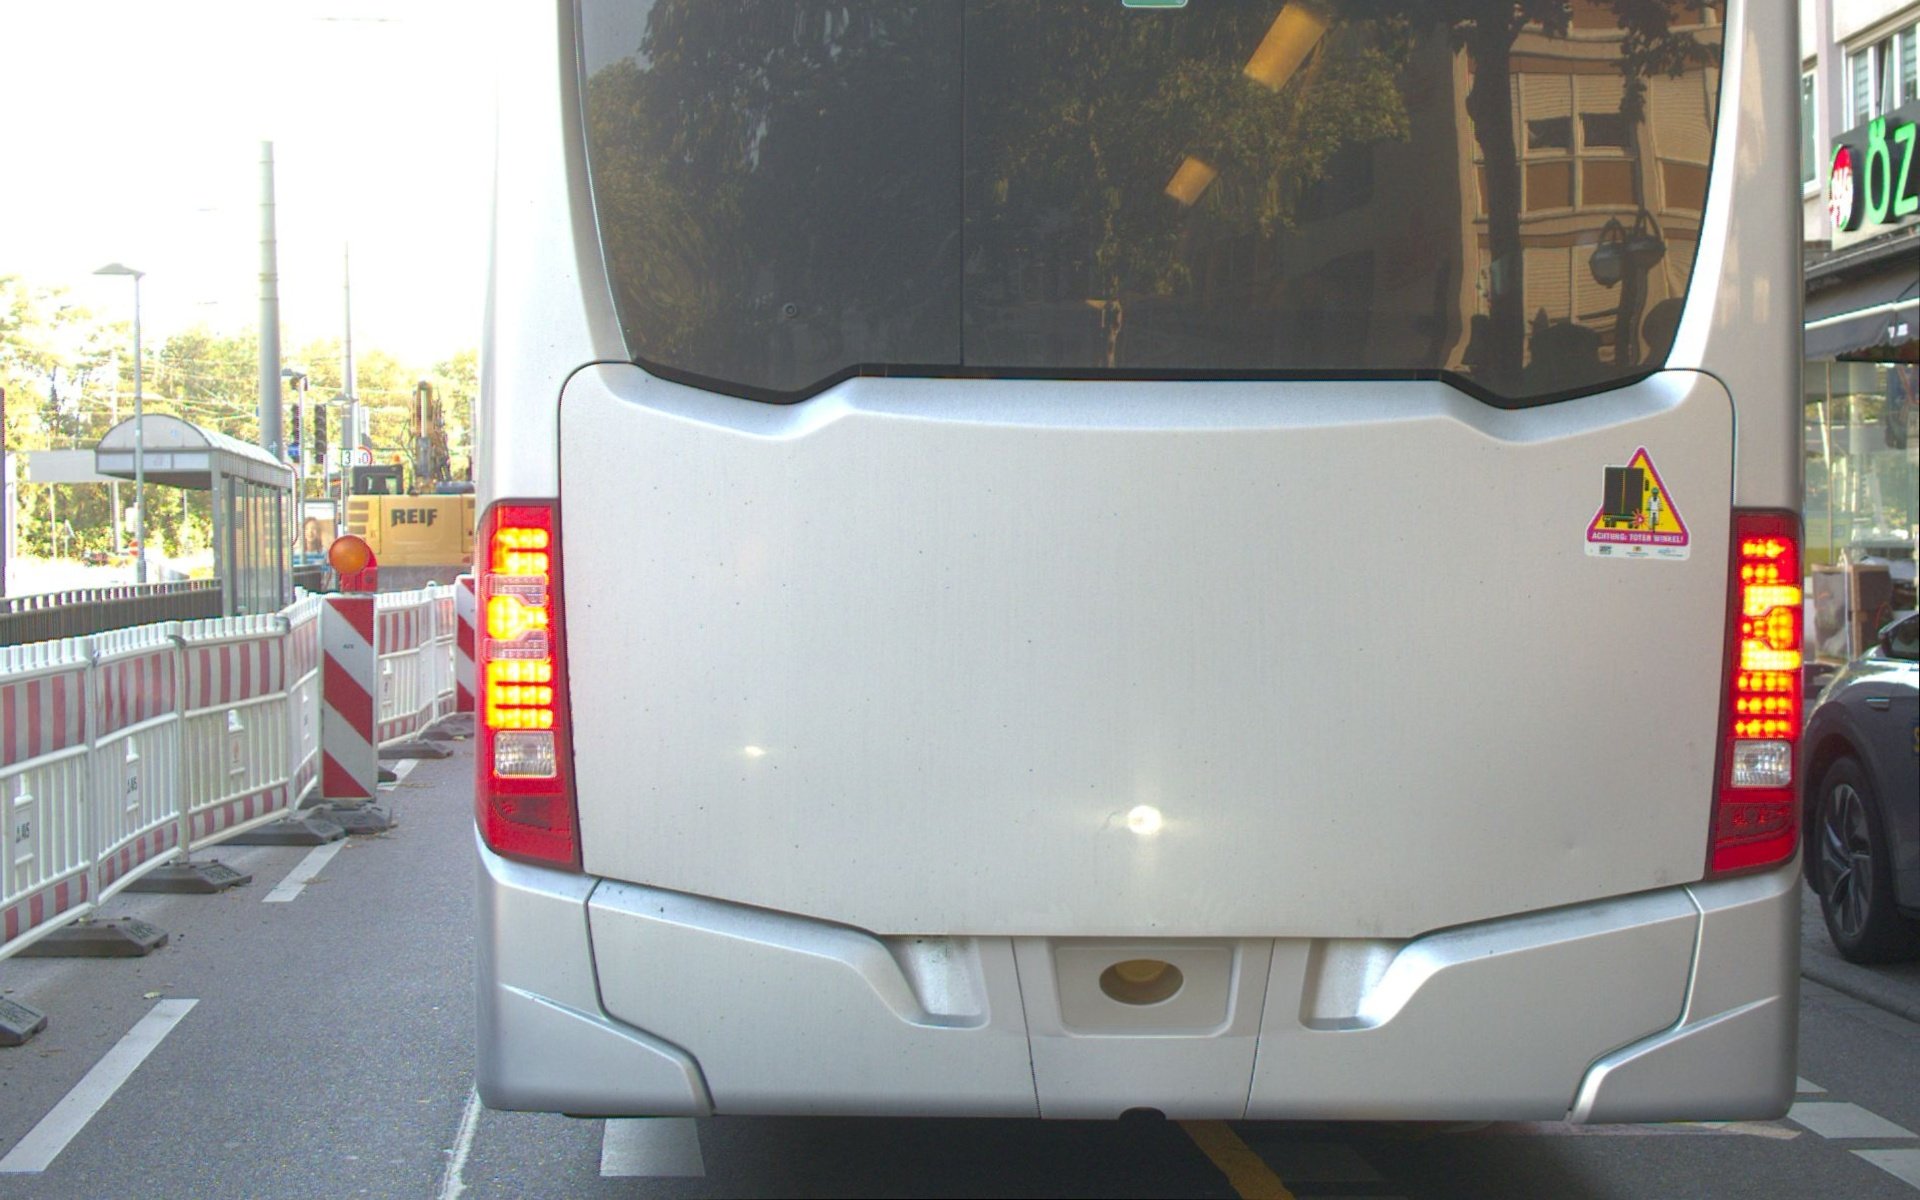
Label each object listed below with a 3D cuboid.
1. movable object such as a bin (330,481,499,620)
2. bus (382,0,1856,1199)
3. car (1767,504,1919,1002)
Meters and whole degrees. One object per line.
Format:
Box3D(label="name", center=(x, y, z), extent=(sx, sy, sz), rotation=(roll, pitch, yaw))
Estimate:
Box3D(label="movable object such as a bin", center=(-10.042, -0.927, 63.643), extent=(2.806, 2.453, 4.001), rotation=(-1, 1, -5))
Box3D(label="bus", center=(0.207, -0.320, 11.231), extent=(2.608, 3.159, 10.292), rotation=(0, 1, -1))
Box3D(label="car", center=(3.994, 0.468, 10.278), extent=(1.739, 1.592, 4.300), rotation=(-3, 1, -5))
